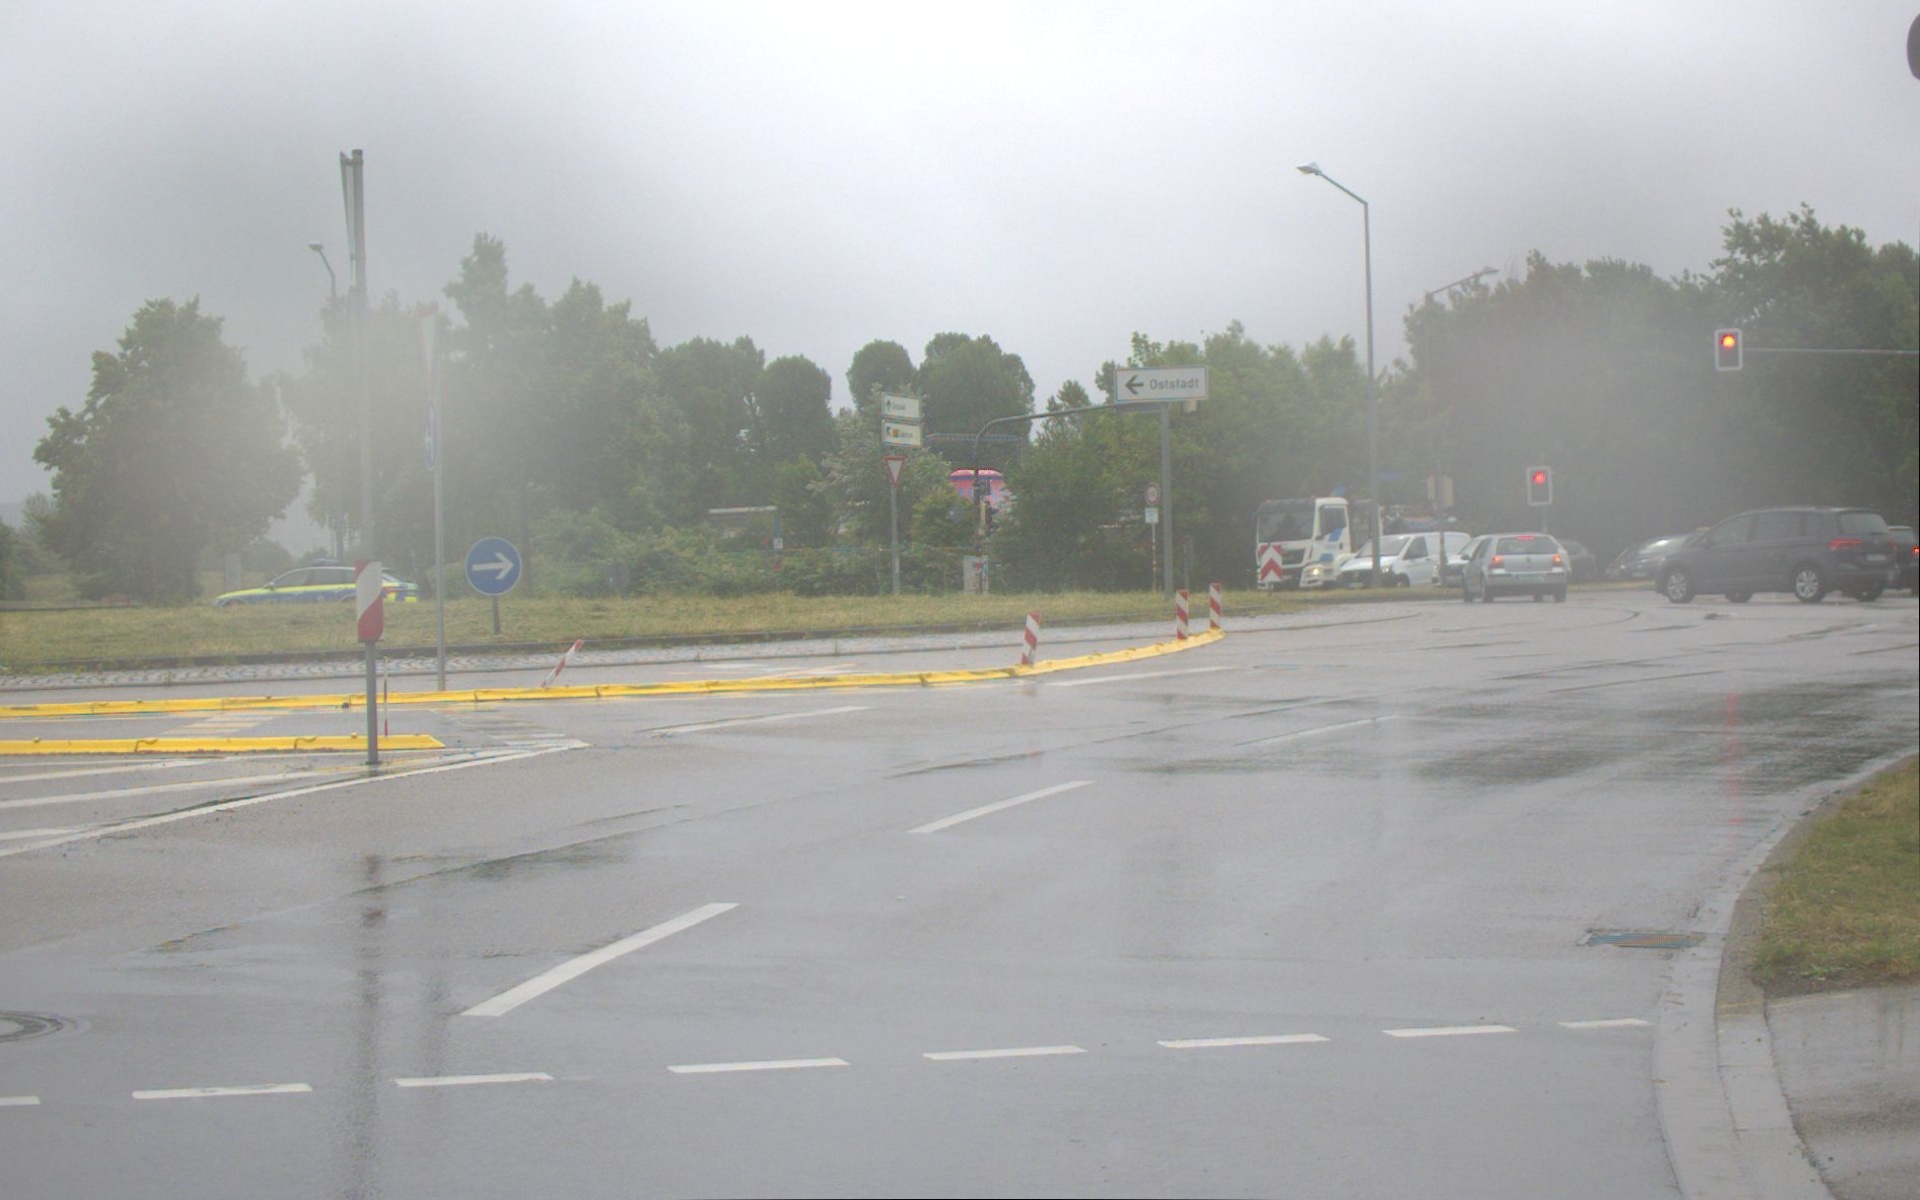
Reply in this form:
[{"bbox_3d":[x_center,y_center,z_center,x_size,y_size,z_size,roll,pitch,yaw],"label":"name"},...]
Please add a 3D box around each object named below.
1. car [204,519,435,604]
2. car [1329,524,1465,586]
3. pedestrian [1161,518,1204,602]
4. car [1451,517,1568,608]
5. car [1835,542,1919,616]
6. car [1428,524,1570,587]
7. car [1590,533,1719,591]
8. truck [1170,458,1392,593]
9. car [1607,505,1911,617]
[{"bbox_3d":[-14.635,-0.879,78.590,4.764,1.845,1.998,-1,1,18],"label":"car"},{"bbox_3d":[12.243,-1.254,96.183,1.800,1.656,4.124,1,0,41],"label":"car"},{"bbox_3d":[3.519,-0.632,54.312,0.453,1.300,0.485,-1,1,38],"label":"pedestrian"},{"bbox_3d":[11.573,-0.764,72.688,1.994,1.845,4.775,1,0,4],"label":"car"},{"bbox_3d":[19.062,-0.456,71.221,1.619,1.449,3.986,-1,1,12],"label":"car"},{"bbox_3d":[14.853,-1.212,94.602,1.800,1.656,4.399,1,0,41],"label":"car"},{"bbox_3d":[20.695,-1.126,102.356,1.800,1.656,4.399,1,0,41],"label":"car"},{"bbox_3d":[7.020,-1.543,74.096,2.464,2.677,8.049,1,0,23],"label":"truck"},{"bbox_3d":[13.841,-0.677,59.723,4.772,1.845,1.995,1,0,44],"label":"car"}]
